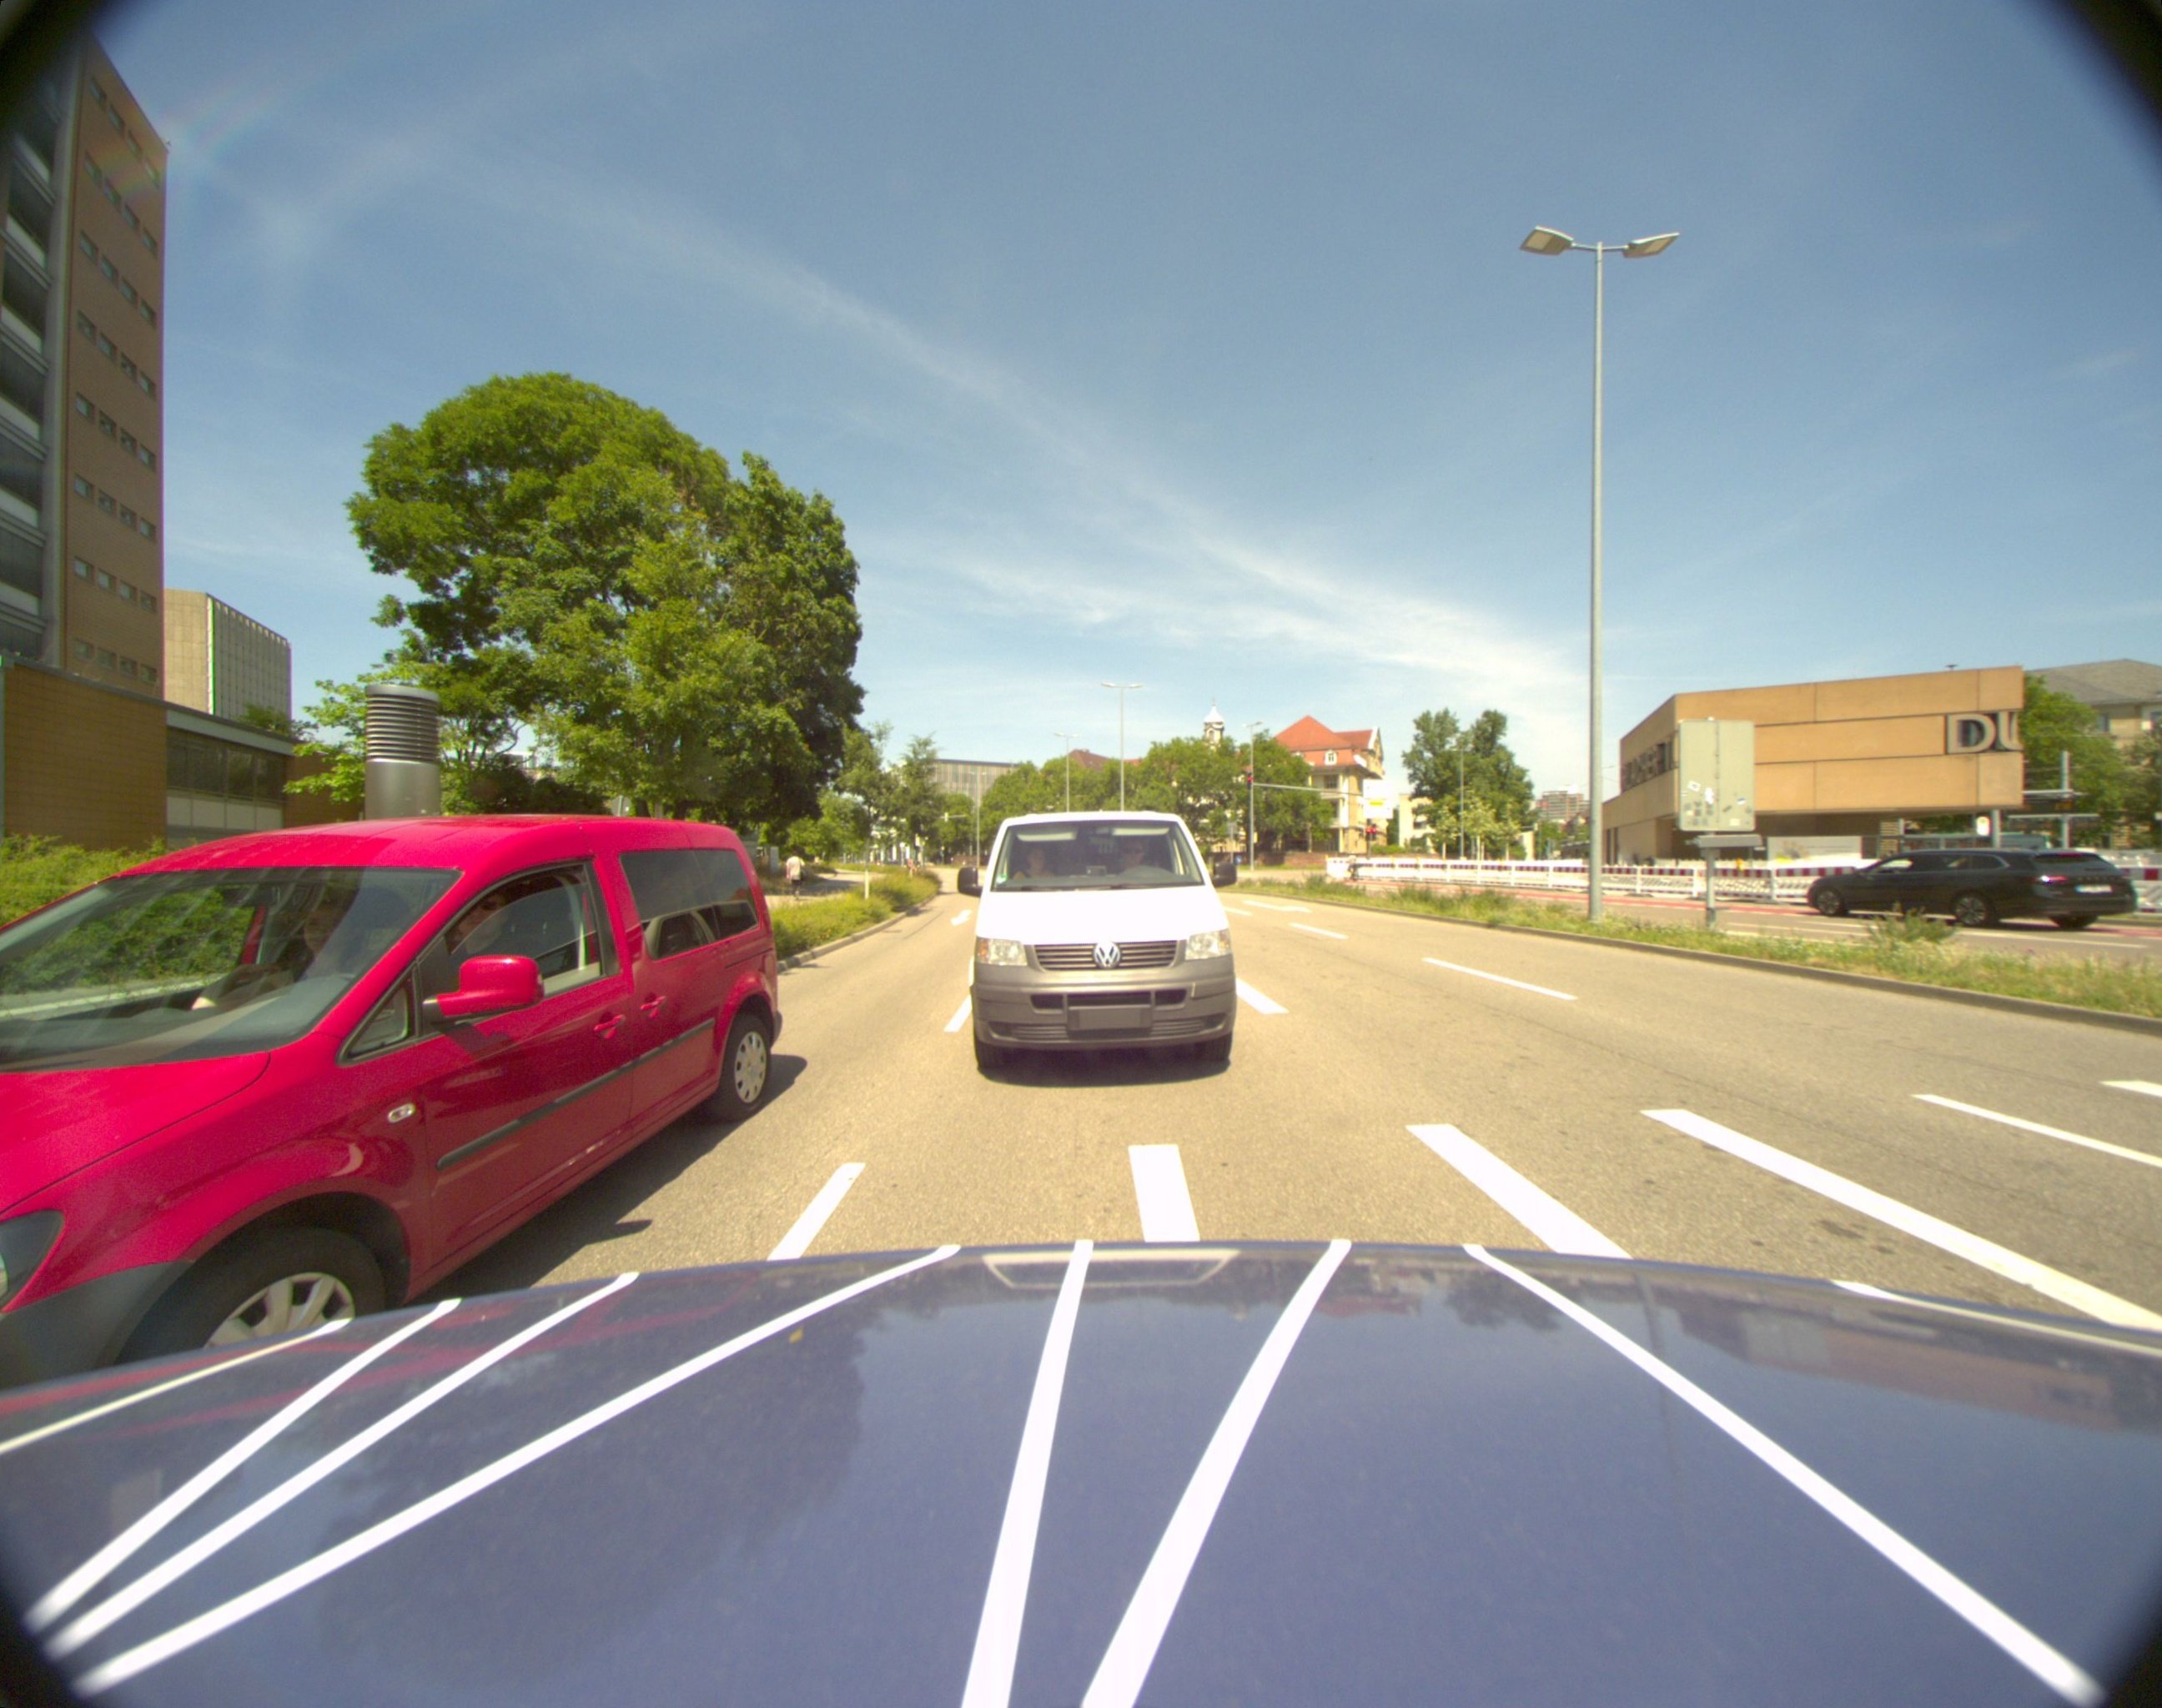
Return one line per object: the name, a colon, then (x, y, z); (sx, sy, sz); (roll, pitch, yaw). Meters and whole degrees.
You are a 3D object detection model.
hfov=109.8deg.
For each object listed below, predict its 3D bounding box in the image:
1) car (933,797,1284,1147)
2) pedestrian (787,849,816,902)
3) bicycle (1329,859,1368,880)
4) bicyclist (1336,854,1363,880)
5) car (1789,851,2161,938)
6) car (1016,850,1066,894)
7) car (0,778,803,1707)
car: (0.126, 0.676, 6.824); (1.971, 1.958, 4.848); (-2, 0, -1)
pedestrian: (-9.591, 0.731, 26.104); (0.728, 1.787, 0.614); (0, 0, 1)
bicycle: (14.289, 0.810, 40.668); (0.879, 1.066, 2.229); (-2, 1, -14)
bicyclist: (14.360, 0.664, 40.652); (0.587, 1.348, 1.438); (-3, 1, -14)
car: (17.276, 0.679, 15.116); (1.998, 1.456, 4.847); (0, 0, 3)
car: (-2.066, 0.832, 38.056); (2.000, 2.002, 3.996); (-2, 1, -10)
car: (-2.830, 0.799, 3.094); (1.655, 1.848, 4.545); (-1, 0, 0)
